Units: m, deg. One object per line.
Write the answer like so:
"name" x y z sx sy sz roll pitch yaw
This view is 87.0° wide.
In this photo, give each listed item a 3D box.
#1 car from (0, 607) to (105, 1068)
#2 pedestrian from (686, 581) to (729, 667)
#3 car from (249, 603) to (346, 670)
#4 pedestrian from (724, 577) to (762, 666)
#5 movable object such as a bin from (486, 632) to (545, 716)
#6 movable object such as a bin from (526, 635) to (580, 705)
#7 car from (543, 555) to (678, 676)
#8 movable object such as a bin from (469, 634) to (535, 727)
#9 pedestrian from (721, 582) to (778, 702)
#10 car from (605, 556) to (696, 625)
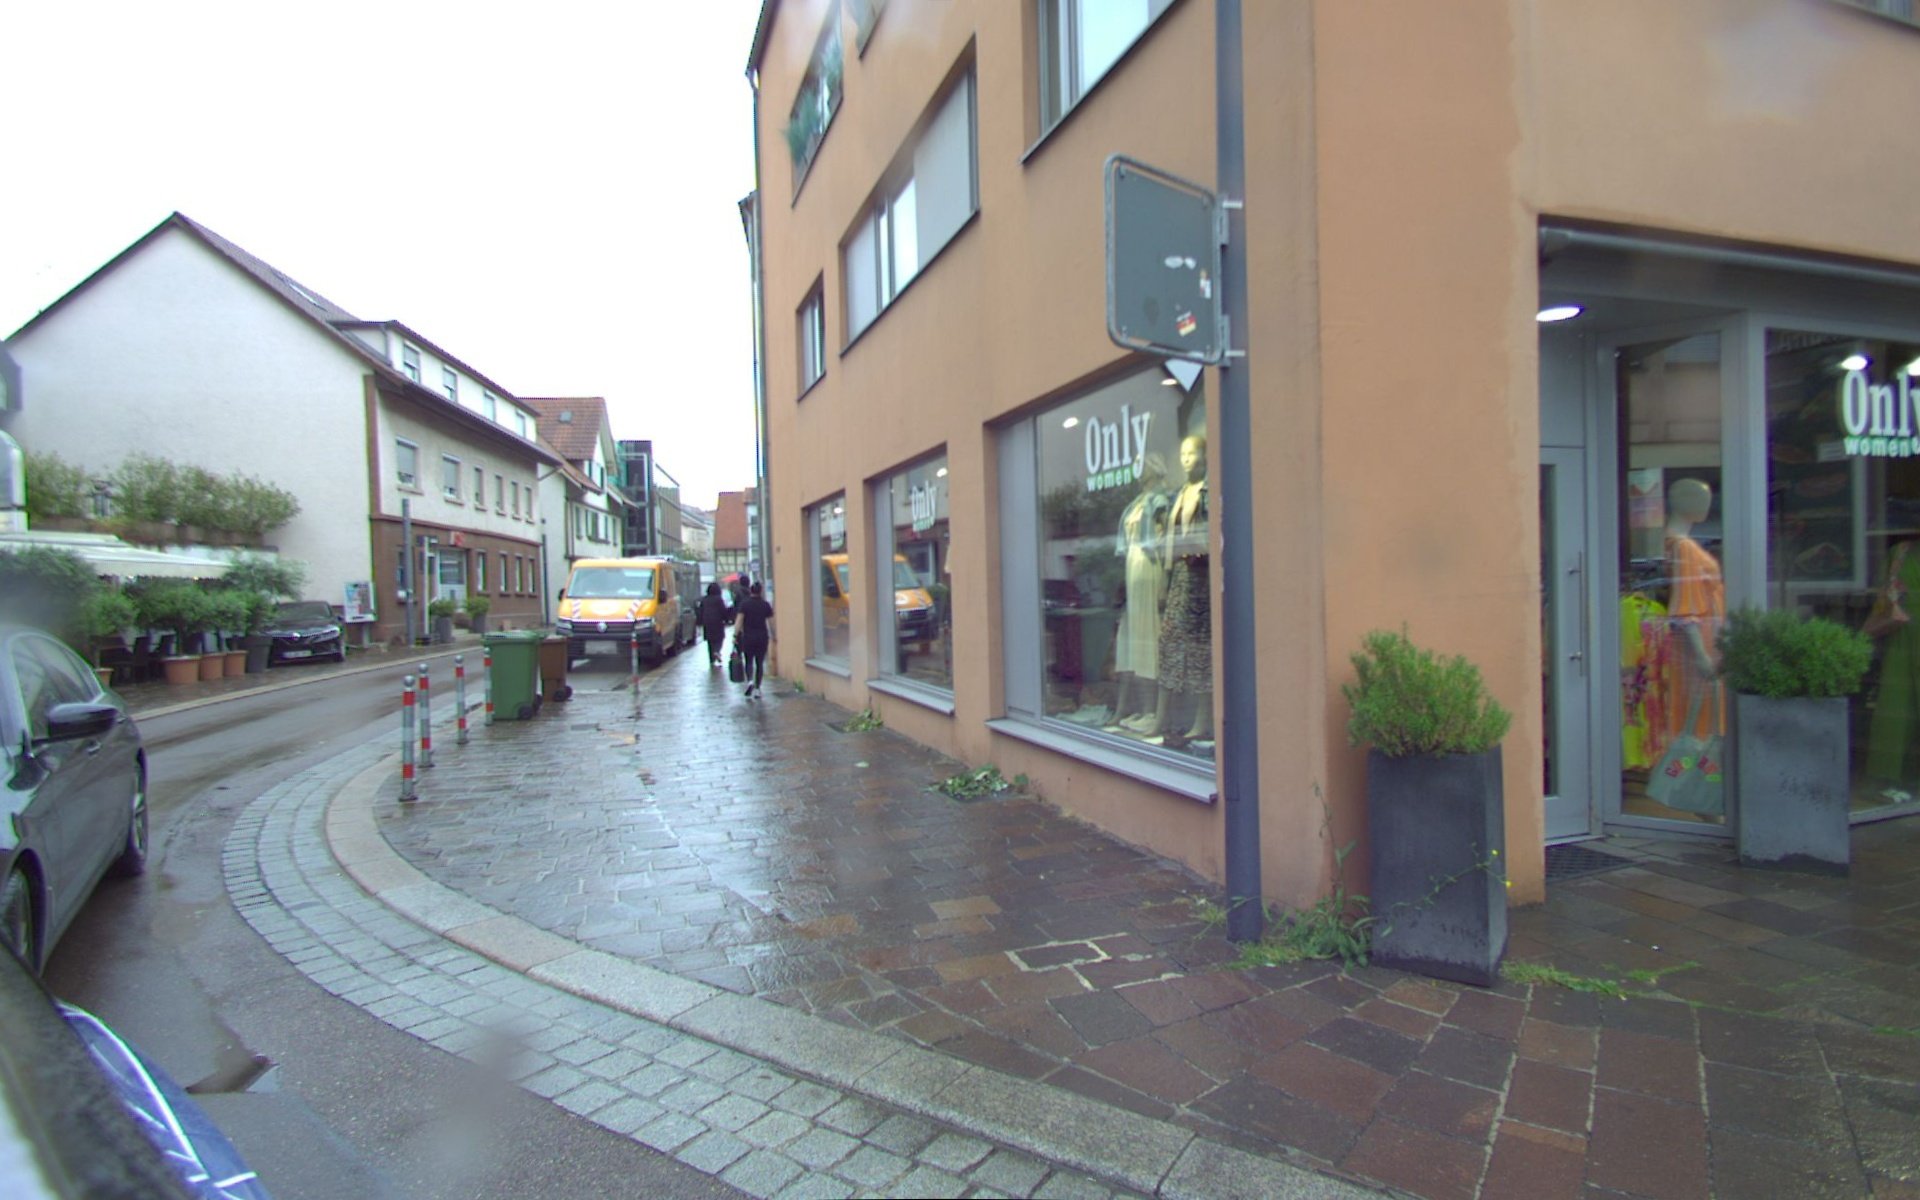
"car" -4.953 0.771 4.327 1.918 1.413 4.426 -2 1 -41
"pedestrian" -5.062 0.476 20.282 0.705 1.651 0.748 -3 1 -17
"car" -15.195 0.772 23.335 1.709 1.367 3.948 -2 1 -32
"pedestrian" -4.396 0.422 20.487 0.614 1.725 0.811 -3 1 -17
"movable object such as a bin" -5.890 0.969 13.445 0.647 1.044 0.612 -1 1 -18
"movable object such as a bin" -5.876 1.003 14.633 0.574 0.934 0.482 -4 1 -9
"car" -7.474 0.266 22.255 1.967 2.256 5.875 -1 1 -11
"movable object such as a bin" -5.505 0.953 12.194 0.647 1.044 0.612 -2 1 -18
"pedestrian" -2.964 0.567 14.236 0.650 1.622 0.686 -2 0 -20
"car" -14.424 -0.384 47.881 2.669 2.895 8.859 -2 0 -8
